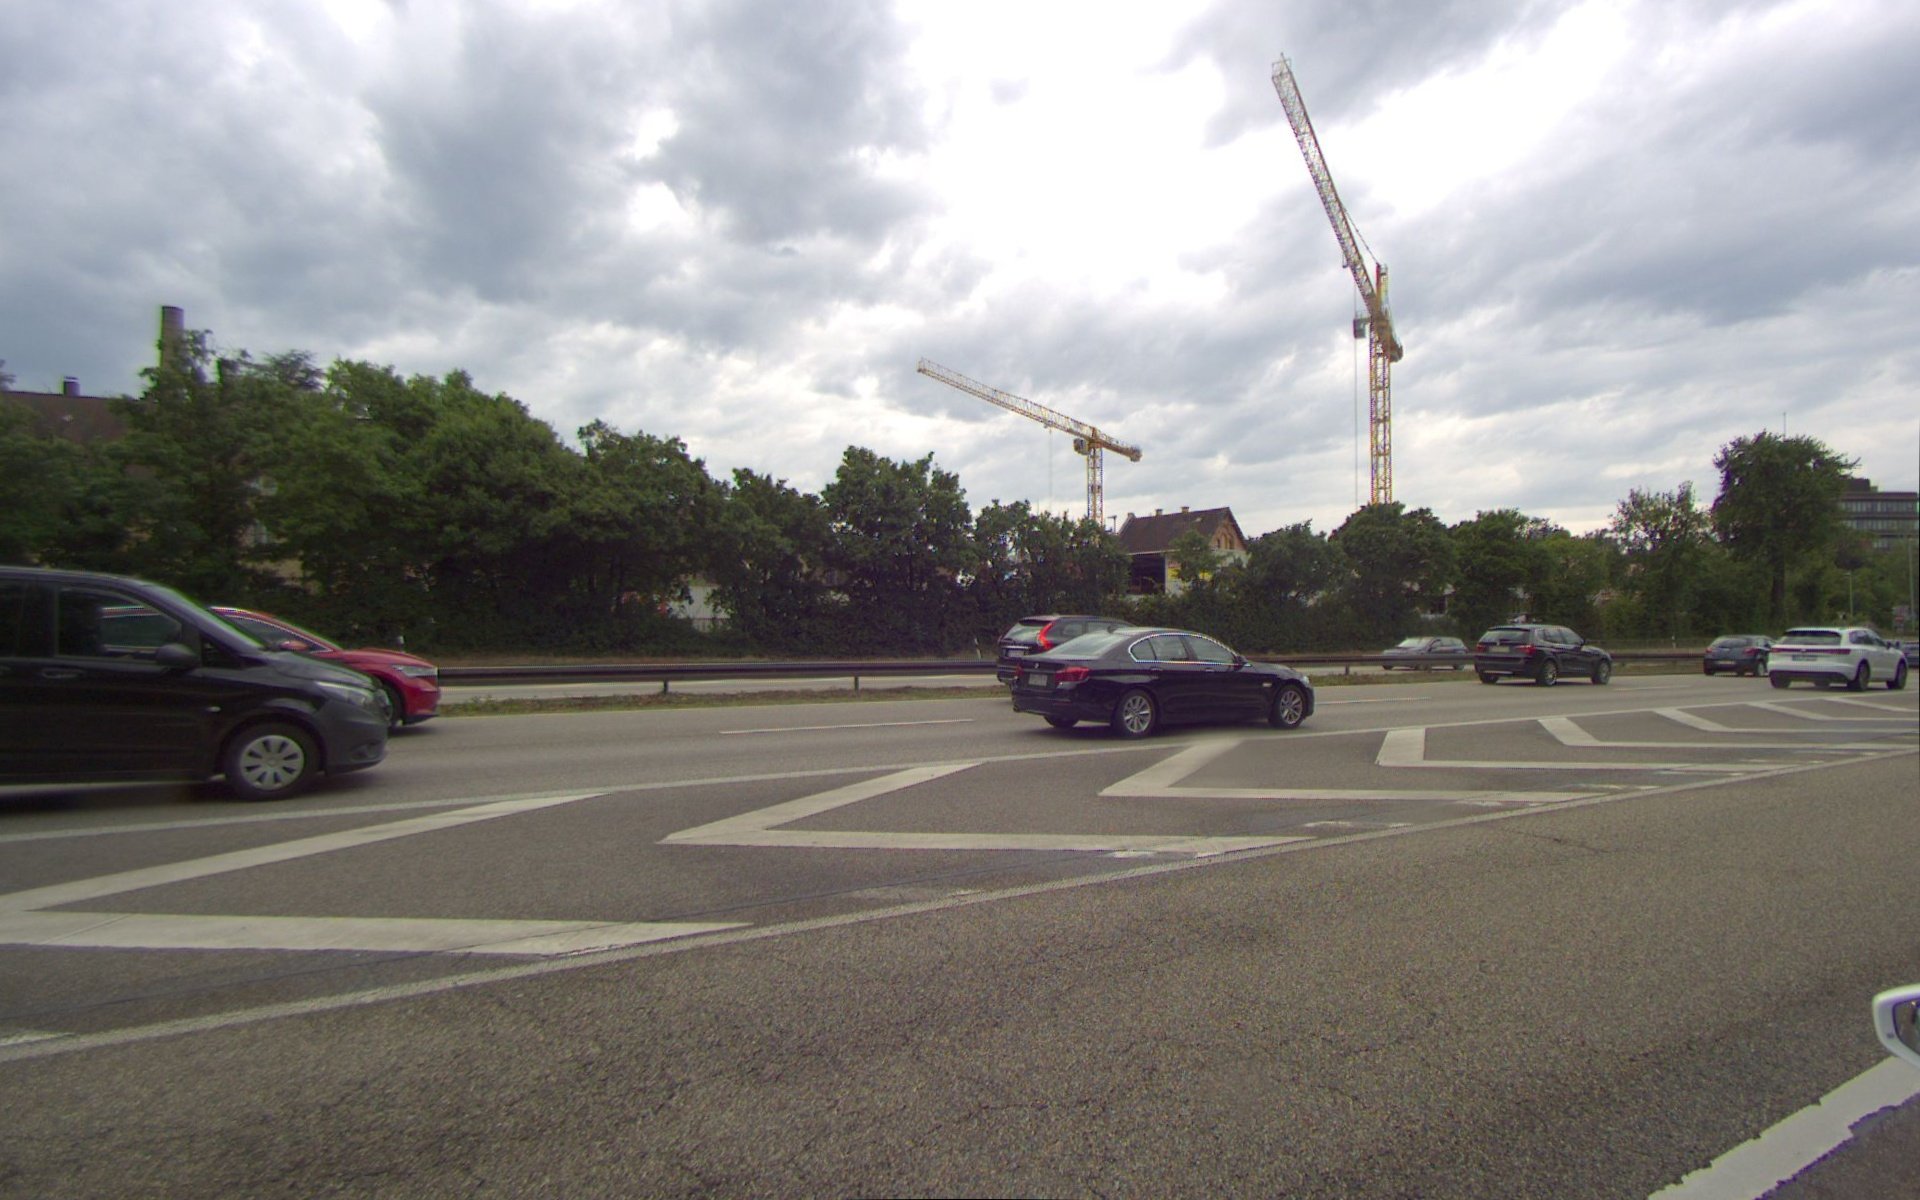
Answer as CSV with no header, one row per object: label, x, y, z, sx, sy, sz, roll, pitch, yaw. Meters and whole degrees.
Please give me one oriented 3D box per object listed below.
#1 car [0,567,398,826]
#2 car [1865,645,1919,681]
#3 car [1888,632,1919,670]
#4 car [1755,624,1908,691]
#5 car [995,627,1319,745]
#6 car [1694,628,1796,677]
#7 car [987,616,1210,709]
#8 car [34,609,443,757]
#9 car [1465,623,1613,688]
car,-7.374,0.719,8.204,4.759,1.875,1.983,1,-2,-33
car,36.238,2.387,38.514,3.312,1.324,1.378,1,-2,-31
car,43.954,2.326,45.685,3.693,1.653,1.678,1,-1,-32
car,24.111,1.534,27.751,4.456,1.714,1.936,1,-2,-31
car,2.913,1.142,14.522,4.609,1.476,1.705,1,-1,-29
car,28.286,1.853,36.177,3.964,1.629,1.678,1,-1,-32
car,2.773,1.178,19.793,4.217,1.657,1.743,1,-2,-31
car,-8.696,0.955,12.568,3.897,1.588,1.759,1,-2,-30
car,16.408,1.521,28.418,4.259,1.703,1.880,1,-2,-32
